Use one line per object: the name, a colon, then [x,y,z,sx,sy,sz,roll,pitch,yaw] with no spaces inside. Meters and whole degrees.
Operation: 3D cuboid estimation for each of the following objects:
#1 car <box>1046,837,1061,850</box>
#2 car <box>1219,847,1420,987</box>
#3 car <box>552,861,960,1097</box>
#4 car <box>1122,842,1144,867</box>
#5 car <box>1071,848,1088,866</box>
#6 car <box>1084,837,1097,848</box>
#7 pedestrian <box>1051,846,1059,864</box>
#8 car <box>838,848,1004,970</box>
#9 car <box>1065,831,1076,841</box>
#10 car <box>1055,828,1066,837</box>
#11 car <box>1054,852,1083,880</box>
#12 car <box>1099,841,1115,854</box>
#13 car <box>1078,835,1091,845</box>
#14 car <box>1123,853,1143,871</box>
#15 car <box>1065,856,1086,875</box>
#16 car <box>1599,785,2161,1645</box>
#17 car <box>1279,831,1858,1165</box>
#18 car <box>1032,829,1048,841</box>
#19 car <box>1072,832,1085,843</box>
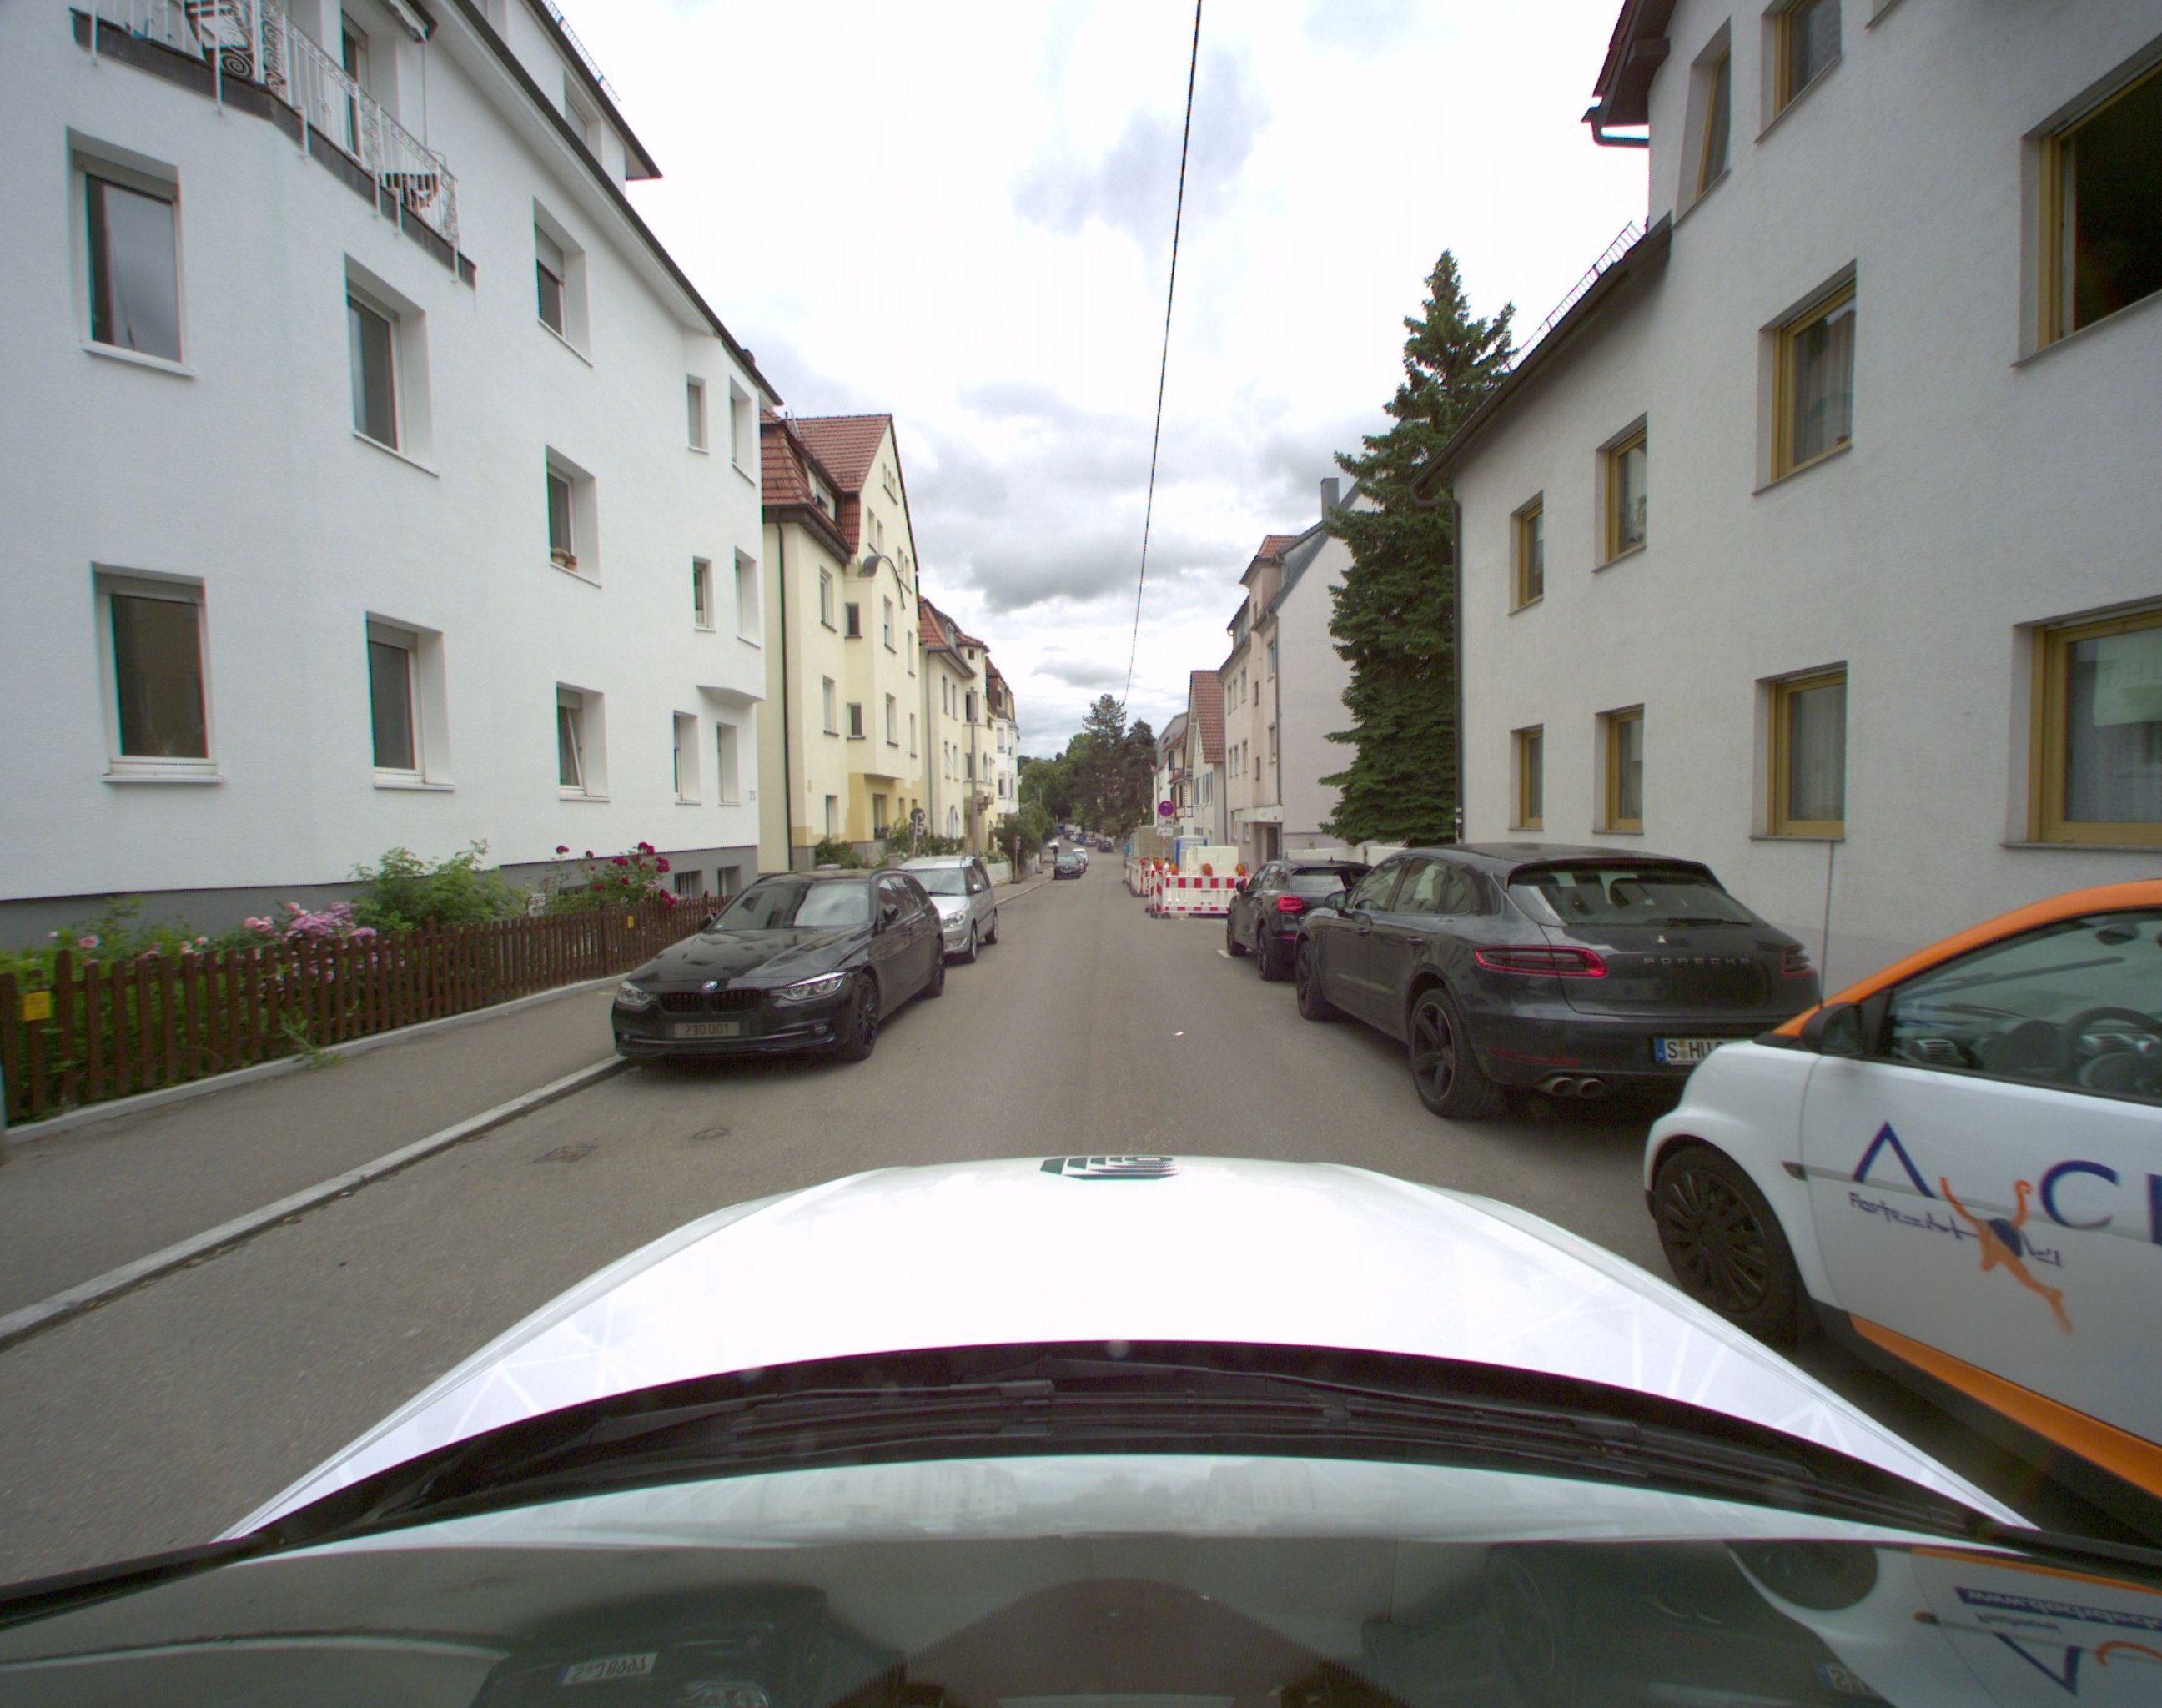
car: [-4.106,-1.613,121.865,1.673,1.656,3.849,-3,3,-11]
car: [3.053,0.697,11.280,1.708,1.565,4.075,0,0,2]
car: [-2.467,0.842,7.589,1.838,1.457,4.506,-2,0,2]
car: [5.208,0.024,82.210,1.973,2.362,4.278,-1,1,1]
car: [-0.128,0.310,85.991,1.667,1.656,3.864,-2,3,1]
car: [1.442,-1.726,124.308,1.633,1.483,3.522,0,4,-8]
pedestrian: [-2.914,0.123,89.802,0.788,1.932,0.920,0,1,4]
car: [-2.400,0.768,13.323,1.839,1.631,4.285,-1,0,0]
car: [-1.833,-3.124,140.848,1.633,1.537,3.522,0,4,-8]
car: [-3.943,-4.103,155.438,1.633,1.537,3.522,0,4,-8]
car: [-0.893,0.819,57.283,1.840,1.815,4.542,-2,0,-1]
car: [3.578,-0.905,112.200,1.632,1.483,3.524,0,4,-6]
car: [0.530,-2.199,128.953,1.633,1.483,3.522,0,4,-8]
car: [4.806,0.734,75.606,1.719,1.448,3.881,-1,1,1]
car: [-0.445,0.951,67.667,1.637,1.416,3.984,-2,0,1]
car: [2.764,0.670,1.849,1.481,1.596,2.792,0,0,2]
car: [2.888,0.672,6.155,1.707,1.596,4.498,0,1,0]
car: [-7.030,-3.345,140.557,1.906,1.876,4.576,-3,3,-13]
car: [-0.410,-2.733,135.053,1.633,1.537,3.522,0,4,-8]
